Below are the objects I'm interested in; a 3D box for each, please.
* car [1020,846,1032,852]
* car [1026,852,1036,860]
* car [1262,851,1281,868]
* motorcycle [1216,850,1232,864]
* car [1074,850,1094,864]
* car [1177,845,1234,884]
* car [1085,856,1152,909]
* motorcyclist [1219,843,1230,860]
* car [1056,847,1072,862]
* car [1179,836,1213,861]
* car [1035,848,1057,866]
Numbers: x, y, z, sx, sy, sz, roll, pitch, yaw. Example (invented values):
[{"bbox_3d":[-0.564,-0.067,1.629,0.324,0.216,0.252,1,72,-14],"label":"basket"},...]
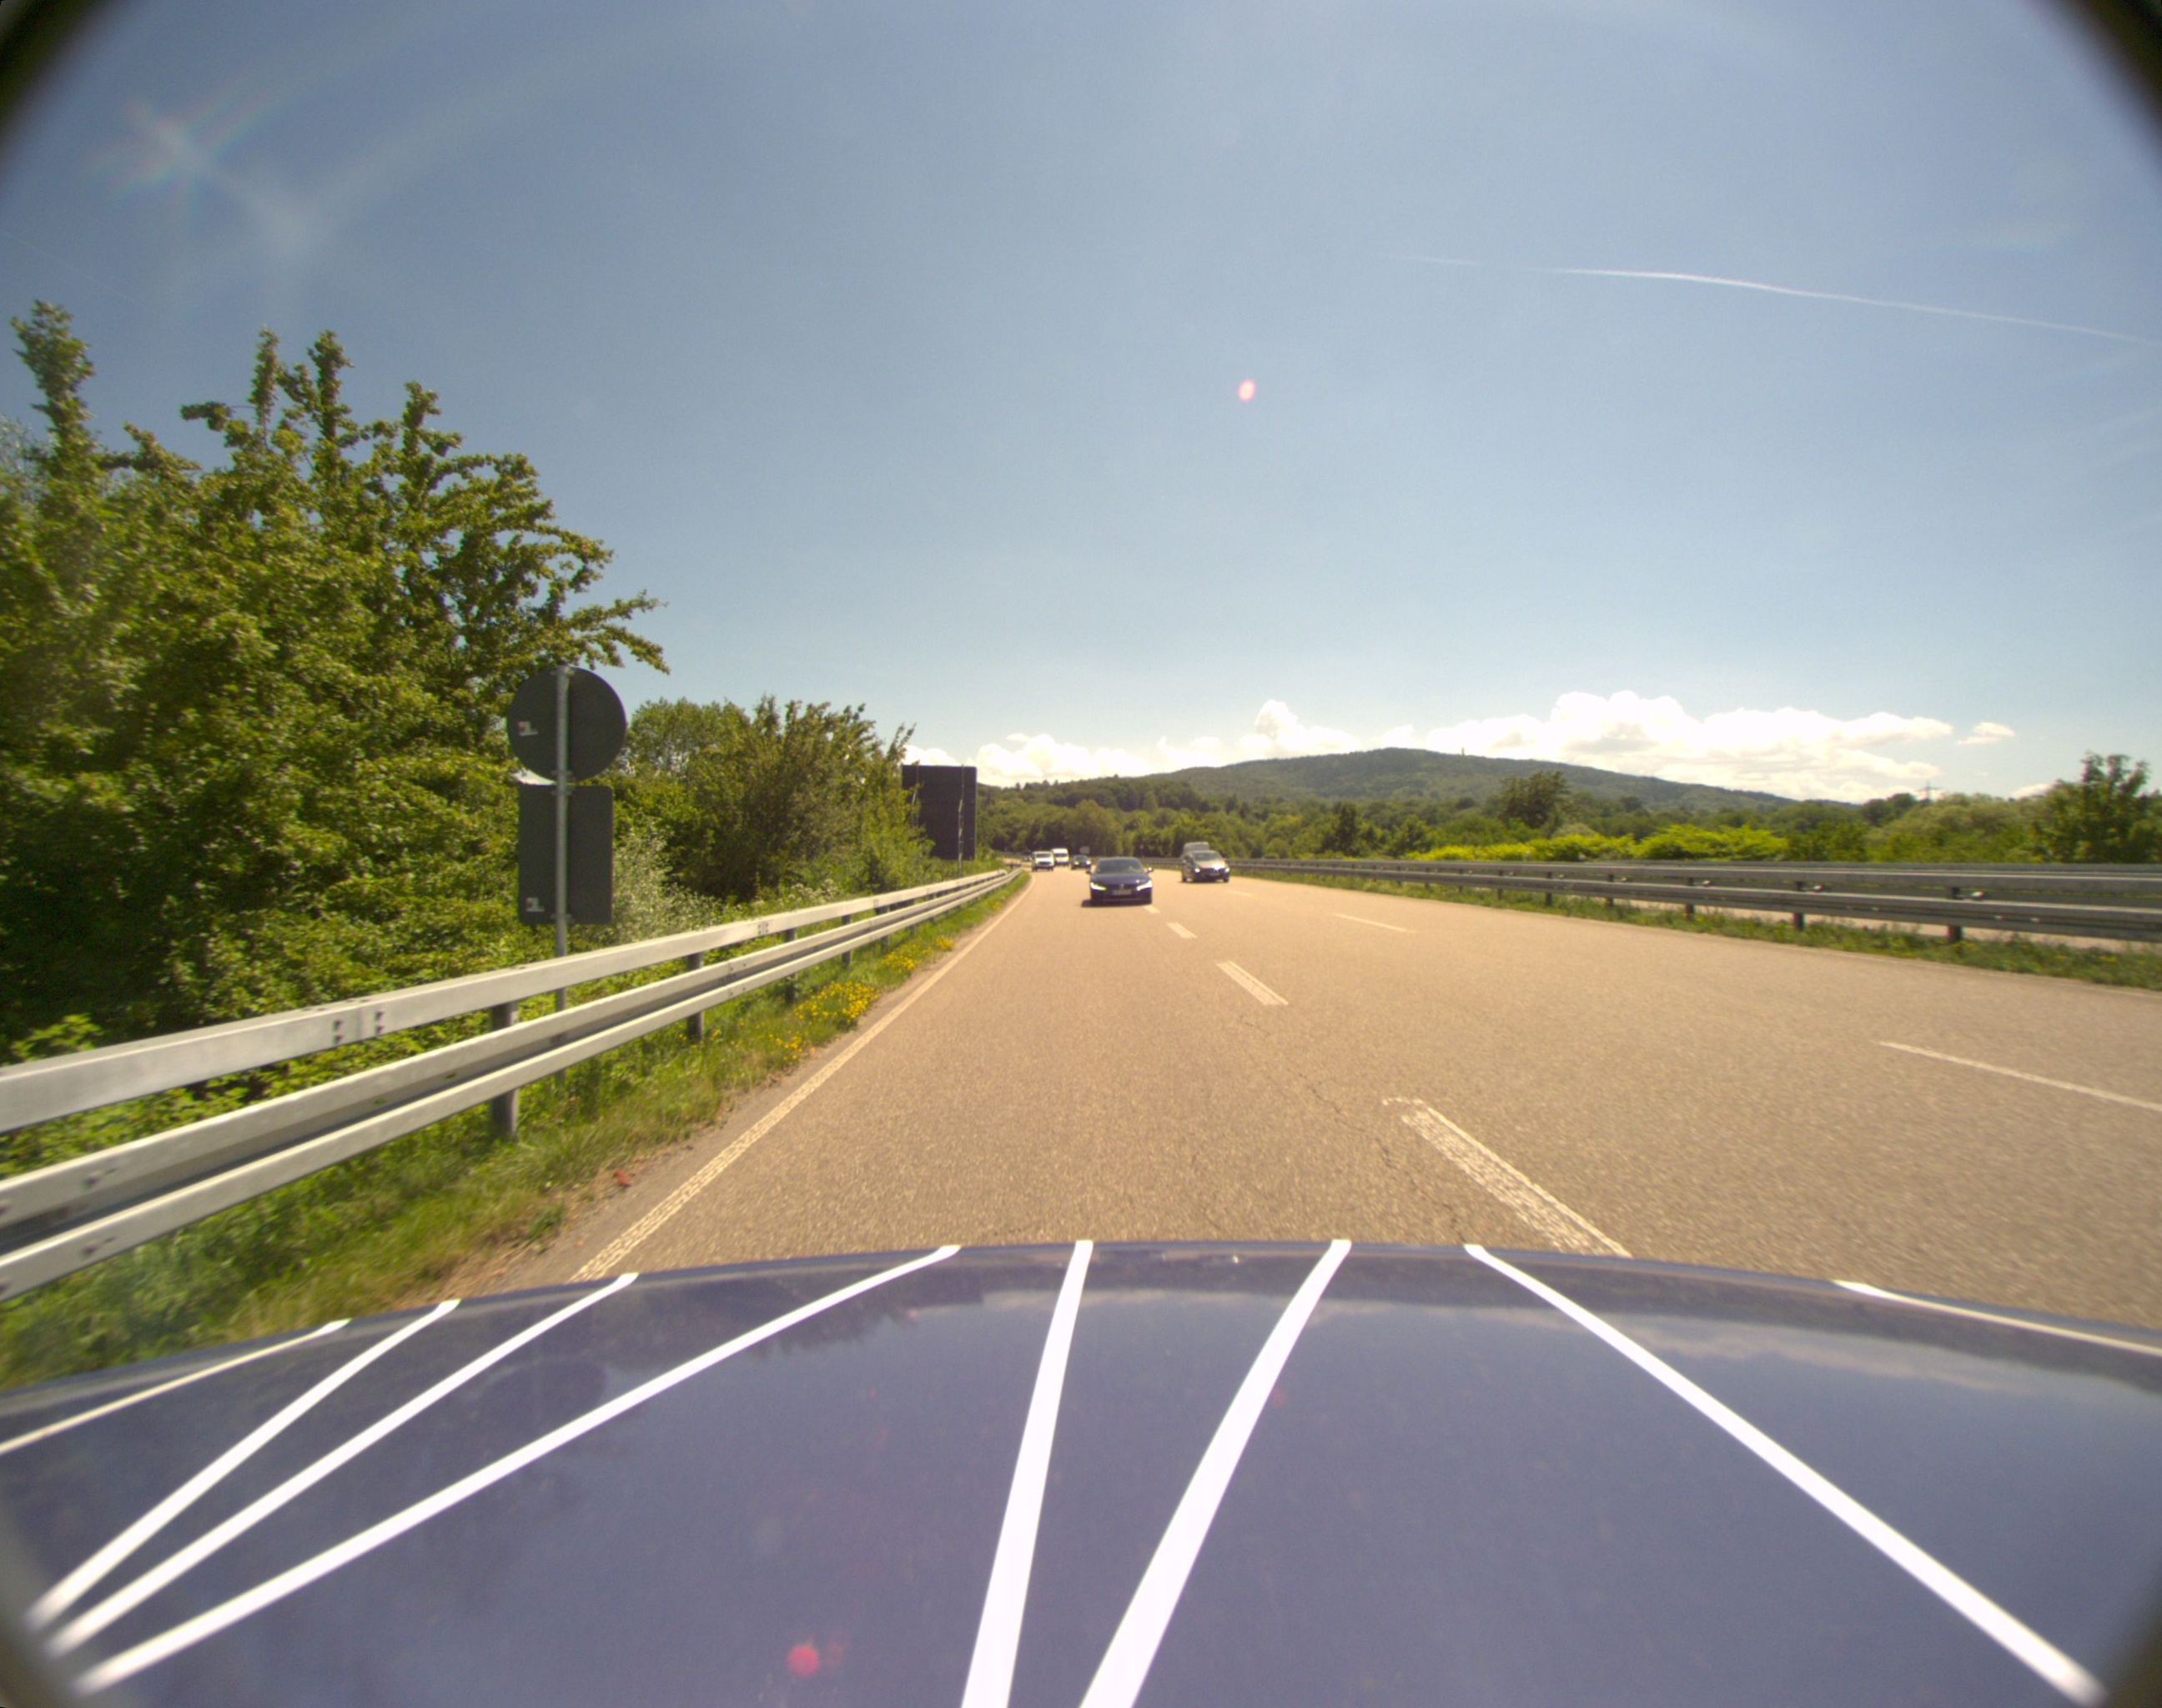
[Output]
[{"bbox_3d":[-16.231,-1.469,224.512,2.213,1.882,4.902,-1,2,-19],"label":"car"},{"bbox_3d":[-11.141,0.415,169.350,1.877,1.594,3.995,-1,2,-10],"label":"car"},{"bbox_3d":[31.153,0.880,124.219,2.206,2.623,5.633,0,2,23],"label":"car"},{"bbox_3d":[12.188,0.240,64.679,0.793,1.137,2.528,0,2,-2],"label":"motorcycle"},{"bbox_3d":[0.322,0.284,79.871,1.846,1.400,4.468,-1,1,-2],"label":"car"},{"bbox_3d":[6.181,0.478,38.300,1.798,1.658,4.551,-3,2,-3],"label":"car"},{"bbox_3d":[1.140,0.817,23.845,1.845,1.399,4.470,-2,0,2],"label":"car"},{"bbox_3d":[12.177,-0.187,64.657,0.793,1.426,0.767,0,2,-2],"label":"motorcyclist"},{"bbox_3d":[-2.350,0.042,103.647,2.009,1.988,4.576,-1,1,-4],"label":"car"},{"bbox_3d":[13.397,-0.749,88.911,2.286,2.758,7.216,0,2,-5],"label":"car"},{"bbox_3d":[-3.592,0.267,77.185,1.885,1.724,4.466,-1,1,-6],"label":"car"}]
